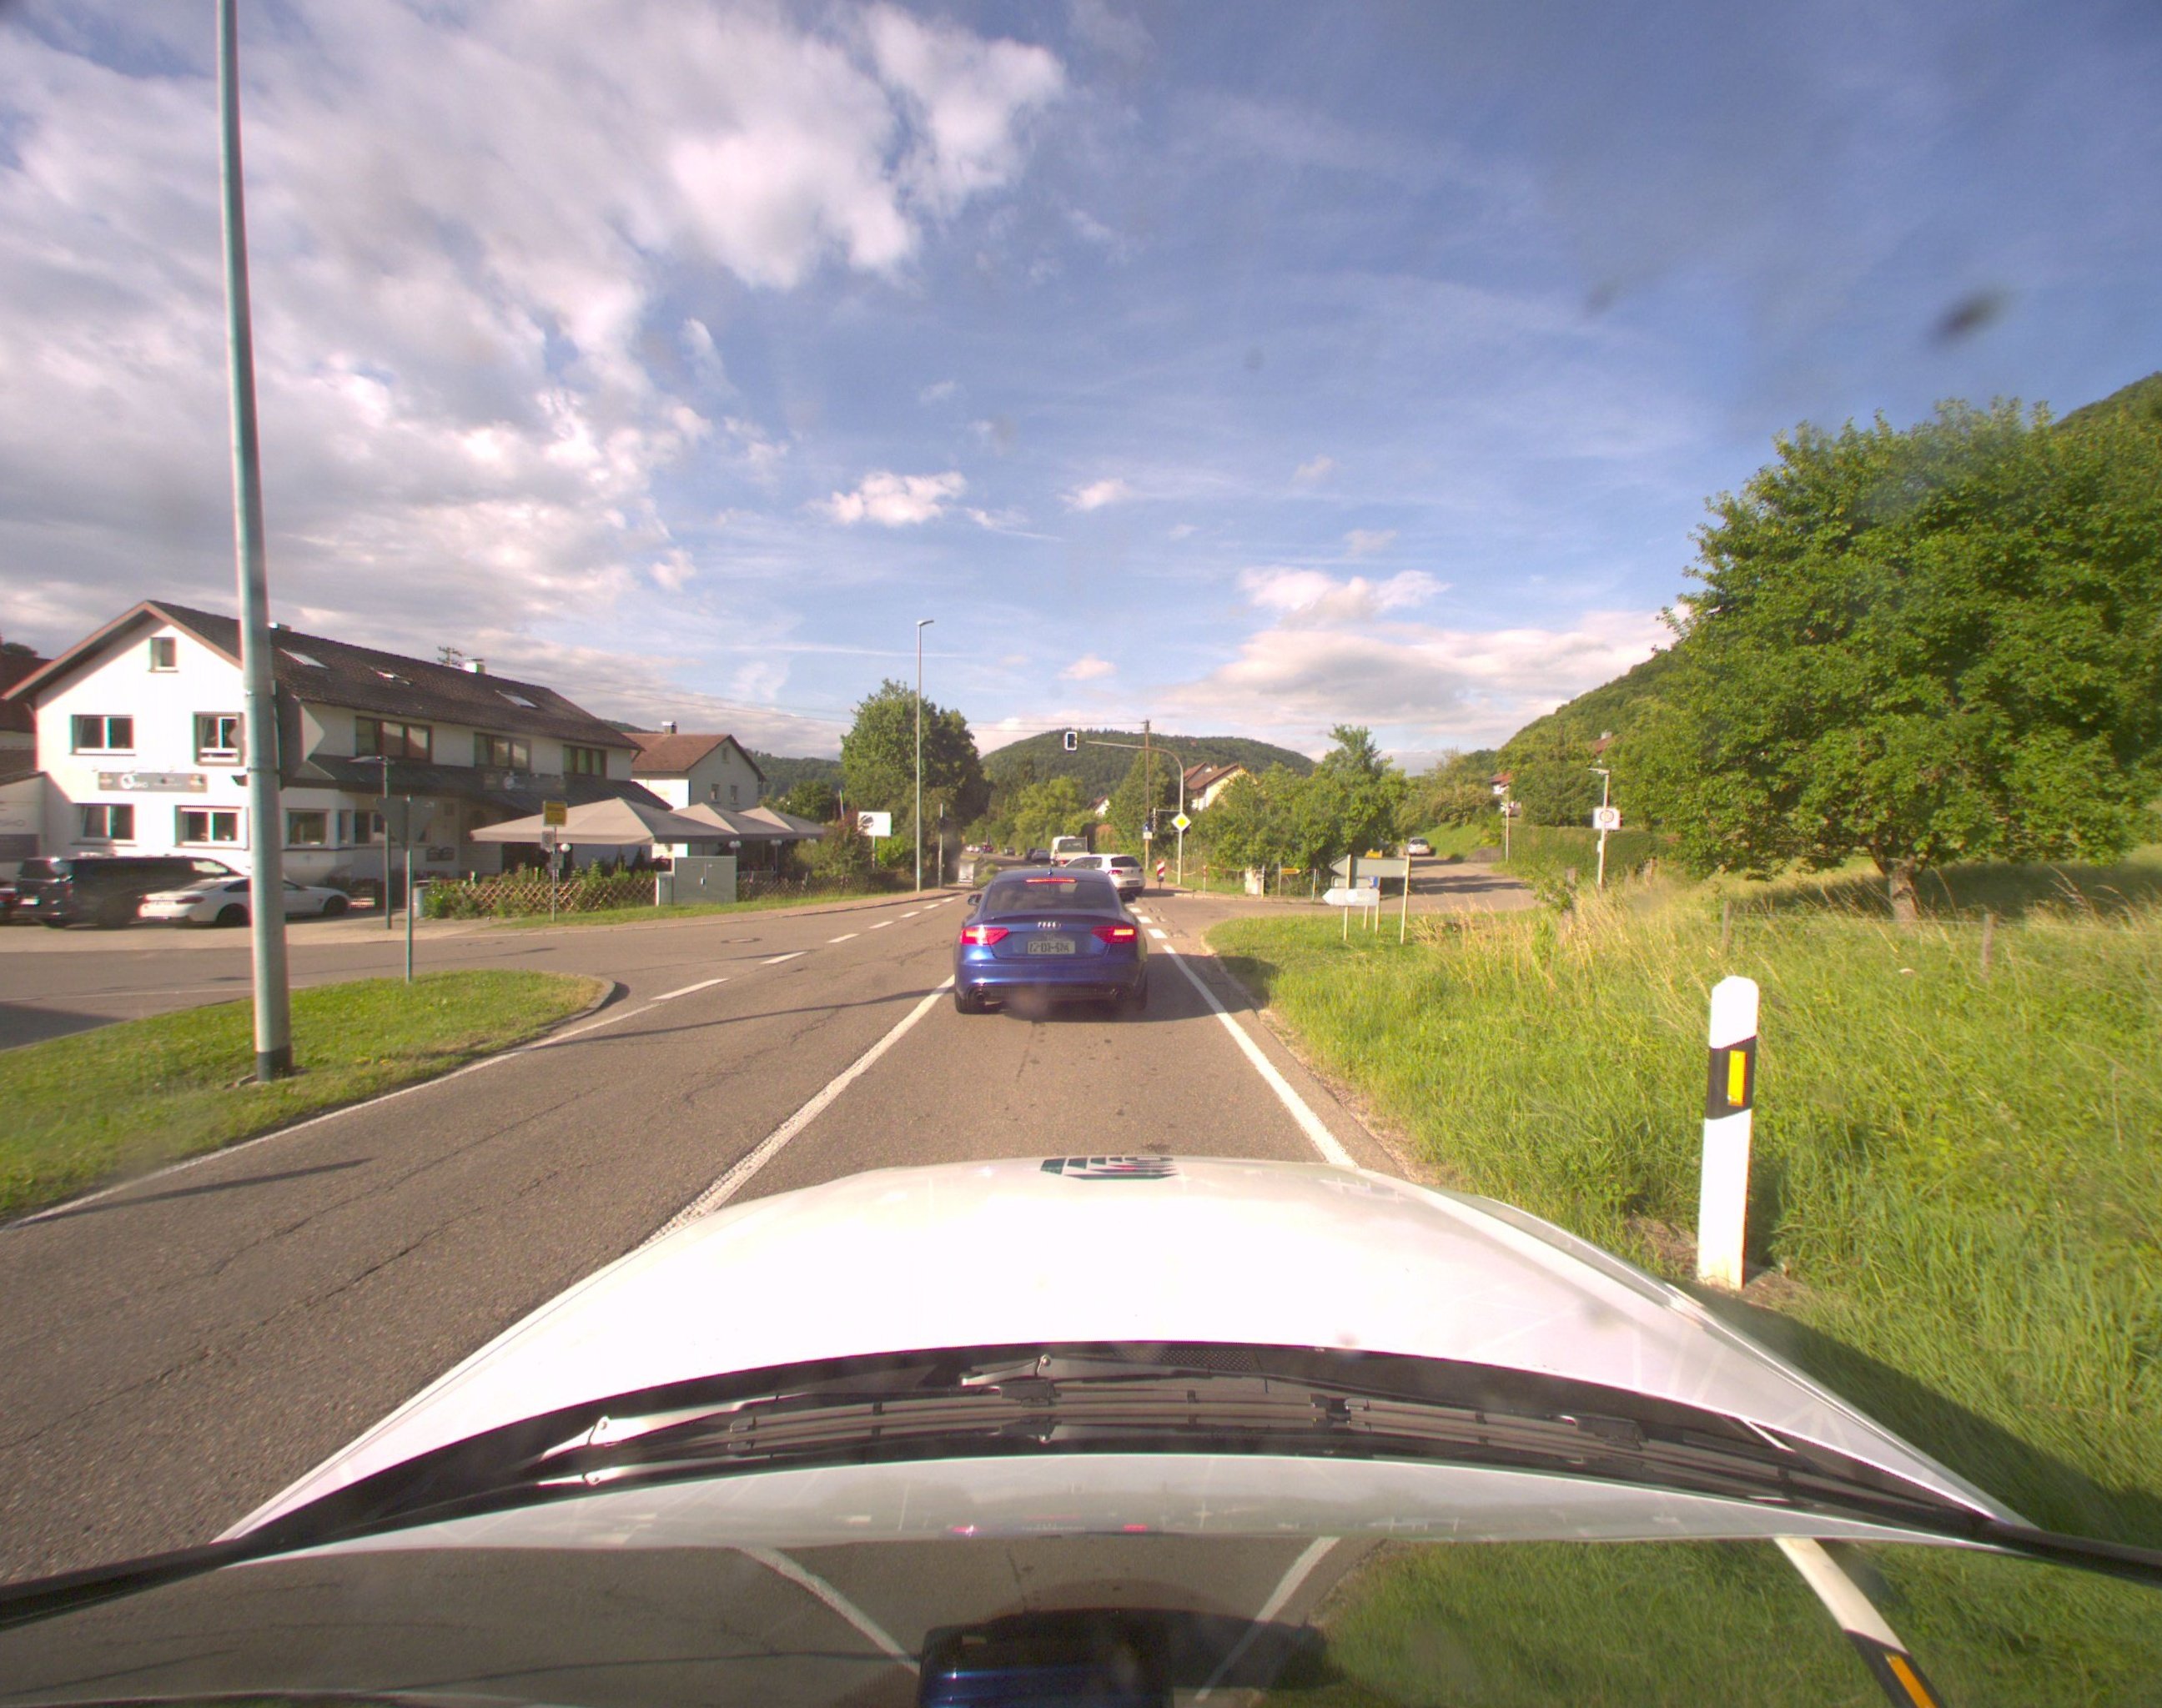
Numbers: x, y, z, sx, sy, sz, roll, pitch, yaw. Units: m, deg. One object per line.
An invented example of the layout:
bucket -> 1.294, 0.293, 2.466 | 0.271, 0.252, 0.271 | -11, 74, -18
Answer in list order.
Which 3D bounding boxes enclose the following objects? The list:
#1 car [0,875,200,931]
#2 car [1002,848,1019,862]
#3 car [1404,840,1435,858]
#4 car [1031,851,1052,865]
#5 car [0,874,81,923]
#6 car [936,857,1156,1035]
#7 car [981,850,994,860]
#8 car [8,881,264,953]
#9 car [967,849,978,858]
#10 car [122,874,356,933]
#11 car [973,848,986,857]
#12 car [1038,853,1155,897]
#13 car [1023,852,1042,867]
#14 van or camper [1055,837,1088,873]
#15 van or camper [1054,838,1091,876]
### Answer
car -> -30.491, 1.428, 24.857 | 1.984, 1.389, 4.582 | -2, 0, 4
car -> -10.931, 0.151, 126.210 | 1.995, 2.013, 3.983 | -1, 0, -13
car -> 28.257, -0.395, 68.127 | 1.978, 1.464, 4.018 | -1, -1, 17
car -> -4.334, 0.423, 89.777 | 1.819, 1.552, 3.987 | -1, 0, -10
car -> -33.264, 1.395, 23.899 | 1.984, 1.412, 4.582 | -2, 0, 4
car -> -0.295, 0.786, 8.994 | 1.824, 1.409, 4.226 | -2, 0, 0
car -> -17.370, 0.159, 151.187 | 2.043, 1.684, 3.982 | -1, 1, -14
car -> -27.411, 1.740, 23.923 | 1.984, 1.685, 4.582 | -2, 0, 4
car -> -22.414, -0.086, 168.414 | 1.751, 1.783, 3.981 | -1, 0, -14
car -> -24.724, 1.405, 24.220 | 1.984, 1.389, 4.582 | -2, 0, 4
car -> -19.891, -0.261, 159.767 | 1.945, 1.684, 3.981 | -2, 0, -14
car -> 0.475, 0.697, 28.867 | 1.786, 1.415, 4.124 | 1, 0, -42
car -> -6.057, 0.710, 101.240 | 1.796, 1.794, 3.986 | -1, 0, -10
van or camper -> -0.866, 0.056, 69.490 | 2.411, 2.904, 6.122 | -1, 1, -4
van or camper -> -0.632, 0.166, 54.997 | 2.176, 2.385, 5.361 | -1, 1, -4
